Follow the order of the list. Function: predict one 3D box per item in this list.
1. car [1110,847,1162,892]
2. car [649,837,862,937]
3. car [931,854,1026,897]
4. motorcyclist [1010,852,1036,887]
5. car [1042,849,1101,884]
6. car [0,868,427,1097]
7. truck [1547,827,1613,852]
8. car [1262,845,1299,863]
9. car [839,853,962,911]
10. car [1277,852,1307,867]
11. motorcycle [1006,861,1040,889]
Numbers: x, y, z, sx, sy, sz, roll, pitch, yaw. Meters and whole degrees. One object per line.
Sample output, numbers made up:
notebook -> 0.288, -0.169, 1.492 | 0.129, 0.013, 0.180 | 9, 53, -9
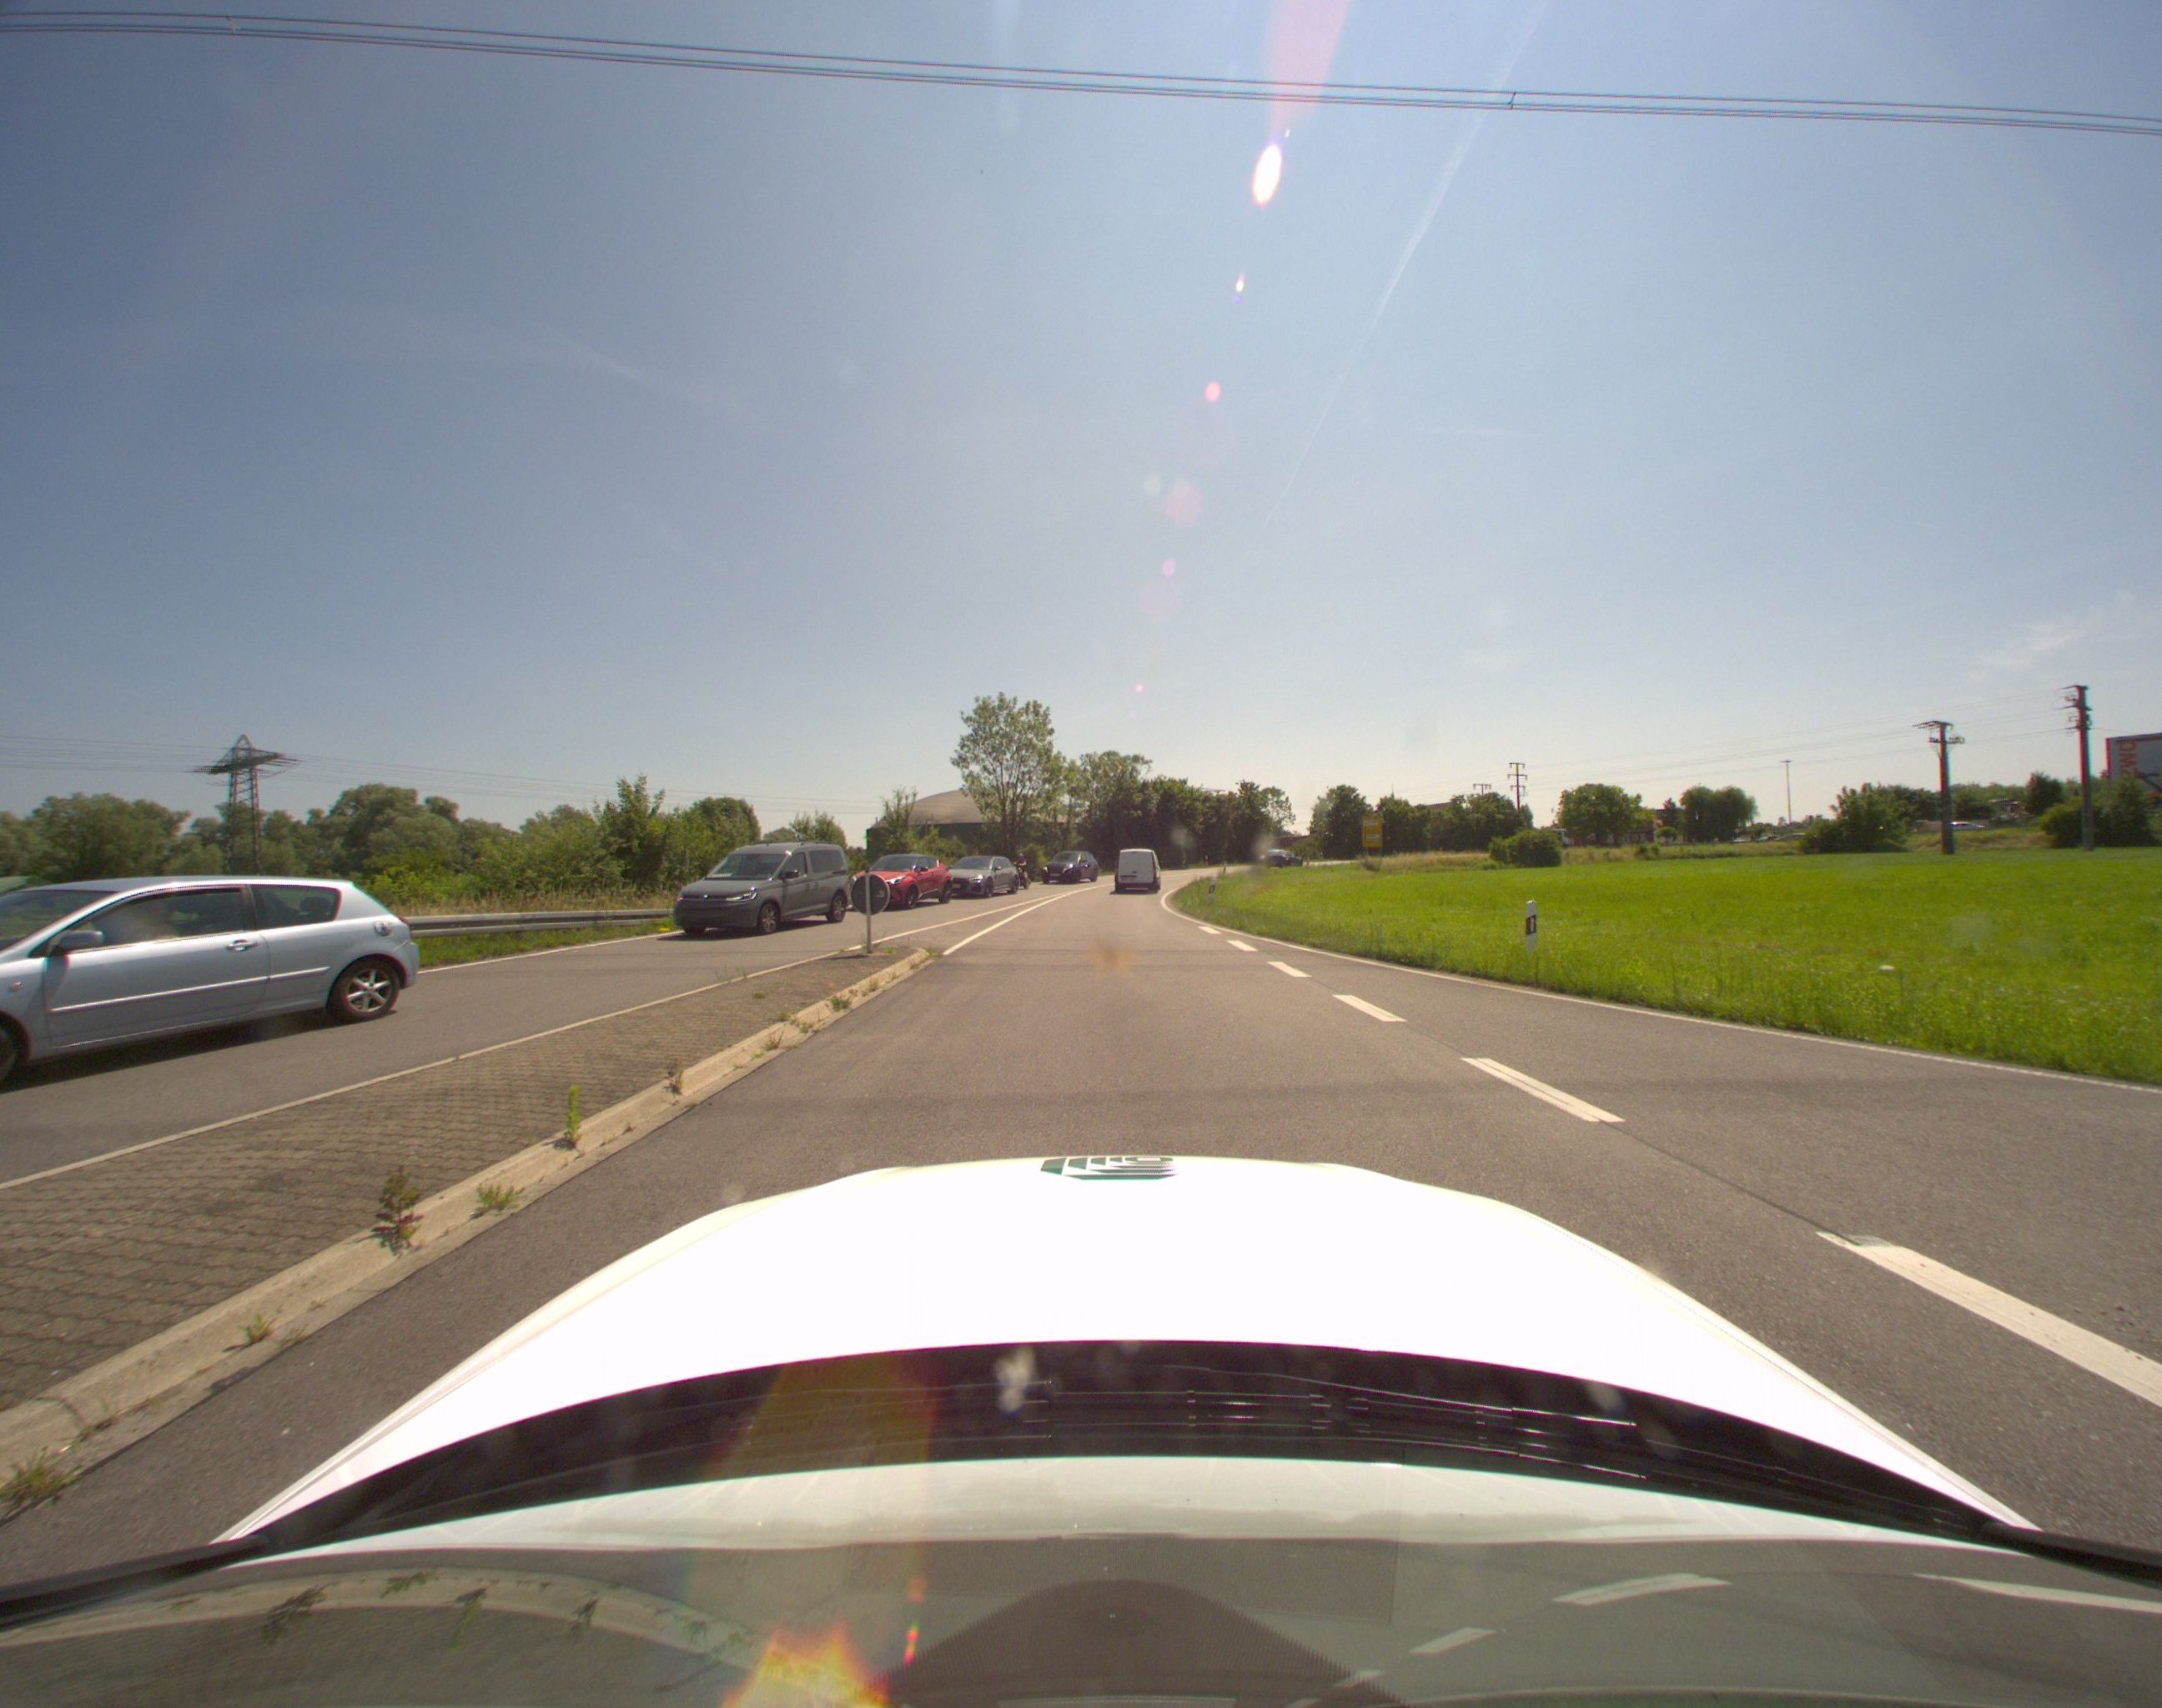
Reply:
car -> 2.378, 0.631, 34.288 | 1.893, 1.732, 3.830 | -2, -1, 8
car -> -6.659, 0.636, 17.293 | 1.912, 1.832, 4.455 | -2, -1, 14
car -> -3.665, 0.746, 30.136 | 1.828, 1.460, 4.827 | -1, -1, 14
motorcyclist -> -2.501, 0.657, 35.370 | 0.775, 1.495, 1.135 | -1, -1, 14
car -> -0.412, 0.588, 41.897 | 1.688, 1.638, 4.270 | 1, 1, 19
car -> -7.912, 0.907, 6.564 | 1.622, 1.459, 4.018 | -1, 0, 9
truck -> 66.987, -1.882, 109.277 | 8.810, 3.137, 3.085 | 1, -1, -23
car -> 16.405, 0.021, 66.843 | 1.702, 1.420, 3.769 | -2, -1, 35
car -> -5.226, 0.761, 24.279 | 1.786, 1.515, 4.409 | 0, 1, 14
car -> 20.539, 0.554, 79.218 | 1.522, 1.442, 3.630 | 2, 0, 38
motorcycle -> -2.499, 0.885, 35.373 | 0.776, 1.123, 2.439 | 0, 0, 14
